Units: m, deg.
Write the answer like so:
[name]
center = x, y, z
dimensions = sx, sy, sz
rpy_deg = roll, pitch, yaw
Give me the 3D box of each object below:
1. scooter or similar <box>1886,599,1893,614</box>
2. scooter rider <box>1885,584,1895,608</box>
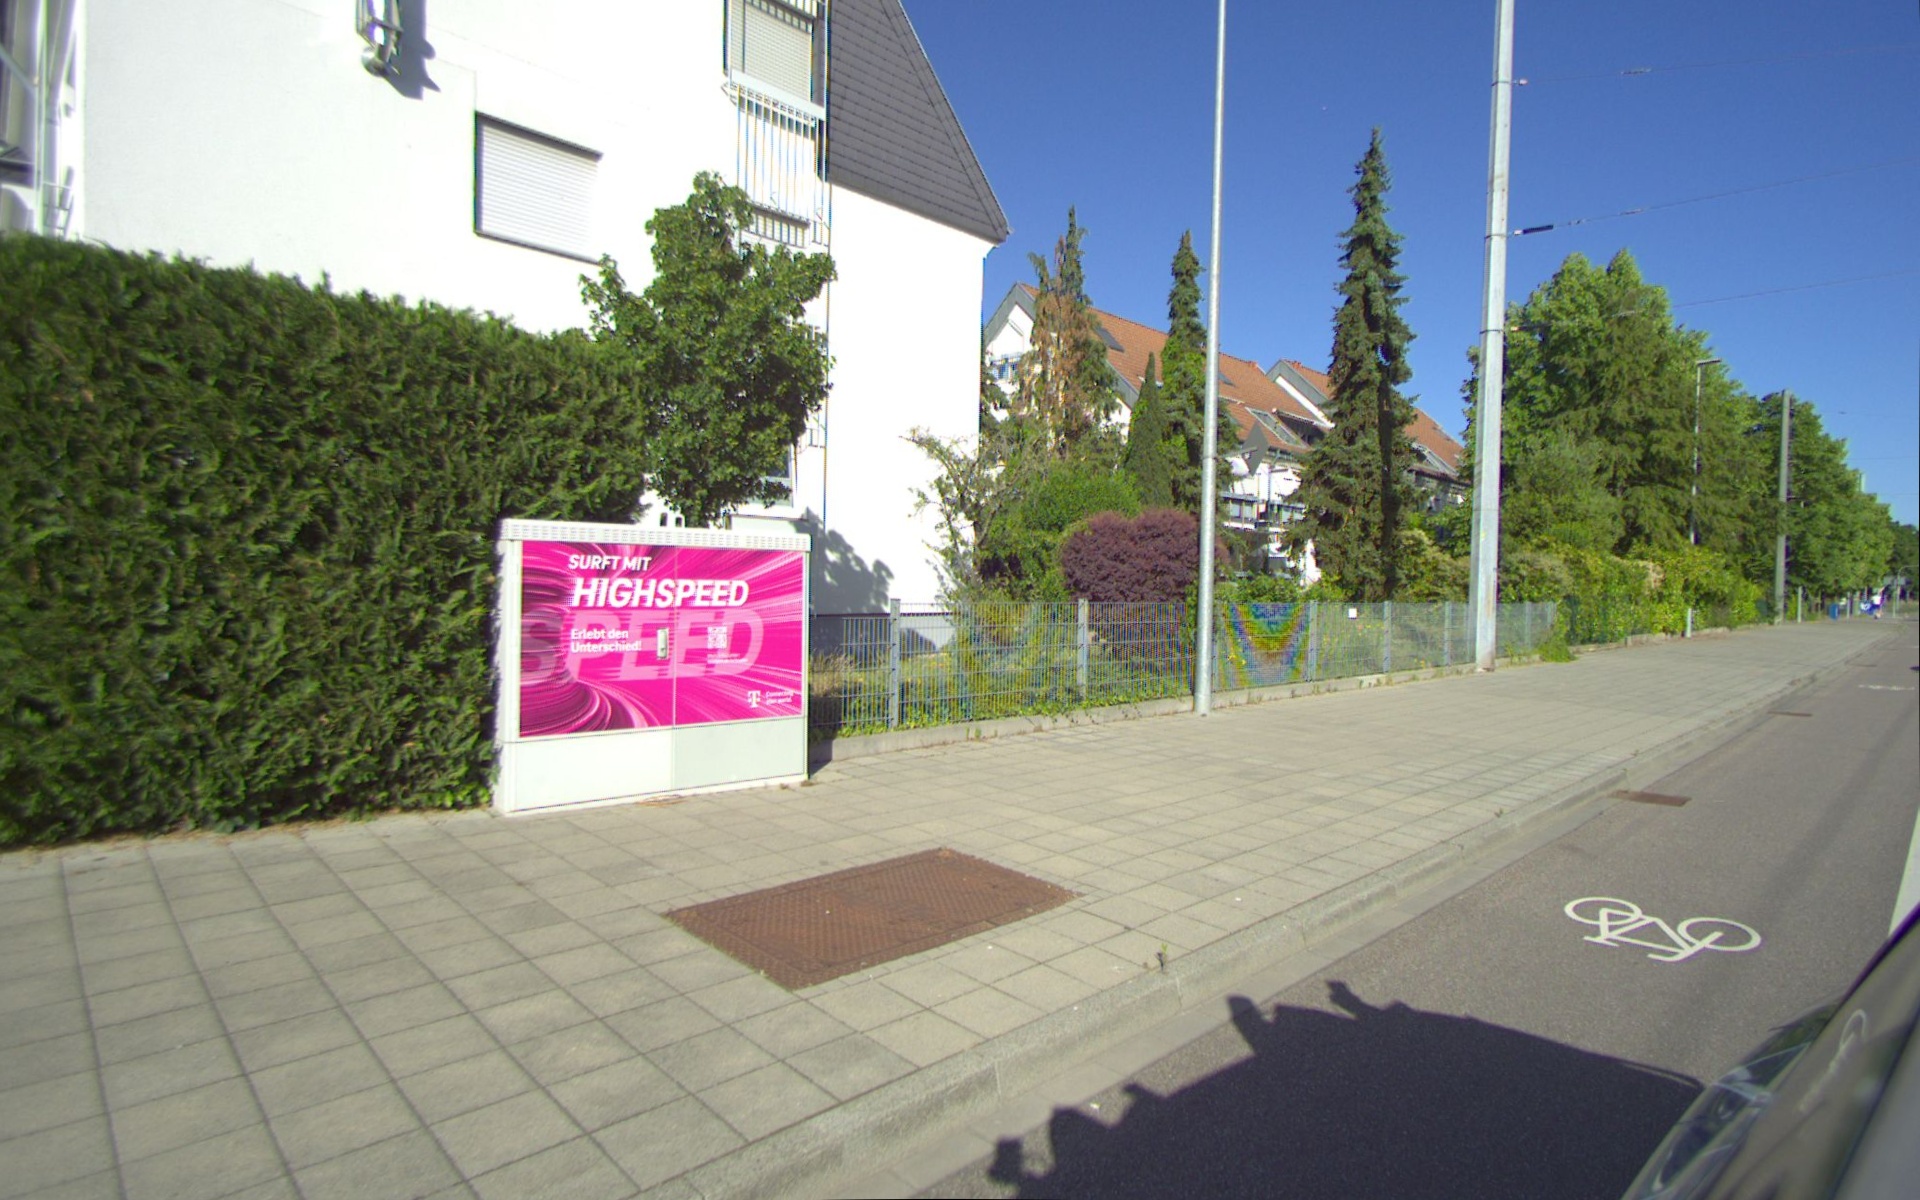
[scooter or similar]
center = 69.023, 0.473, 75.160
dimensions = 0.348, 1.151, 1.189
rpy_deg = 2, 2, 44
[scooter rider]
center = 68.994, -0.274, 75.077
dimensions = 0.550, 1.789, 0.589
rpy_deg = 0, 0, 44
